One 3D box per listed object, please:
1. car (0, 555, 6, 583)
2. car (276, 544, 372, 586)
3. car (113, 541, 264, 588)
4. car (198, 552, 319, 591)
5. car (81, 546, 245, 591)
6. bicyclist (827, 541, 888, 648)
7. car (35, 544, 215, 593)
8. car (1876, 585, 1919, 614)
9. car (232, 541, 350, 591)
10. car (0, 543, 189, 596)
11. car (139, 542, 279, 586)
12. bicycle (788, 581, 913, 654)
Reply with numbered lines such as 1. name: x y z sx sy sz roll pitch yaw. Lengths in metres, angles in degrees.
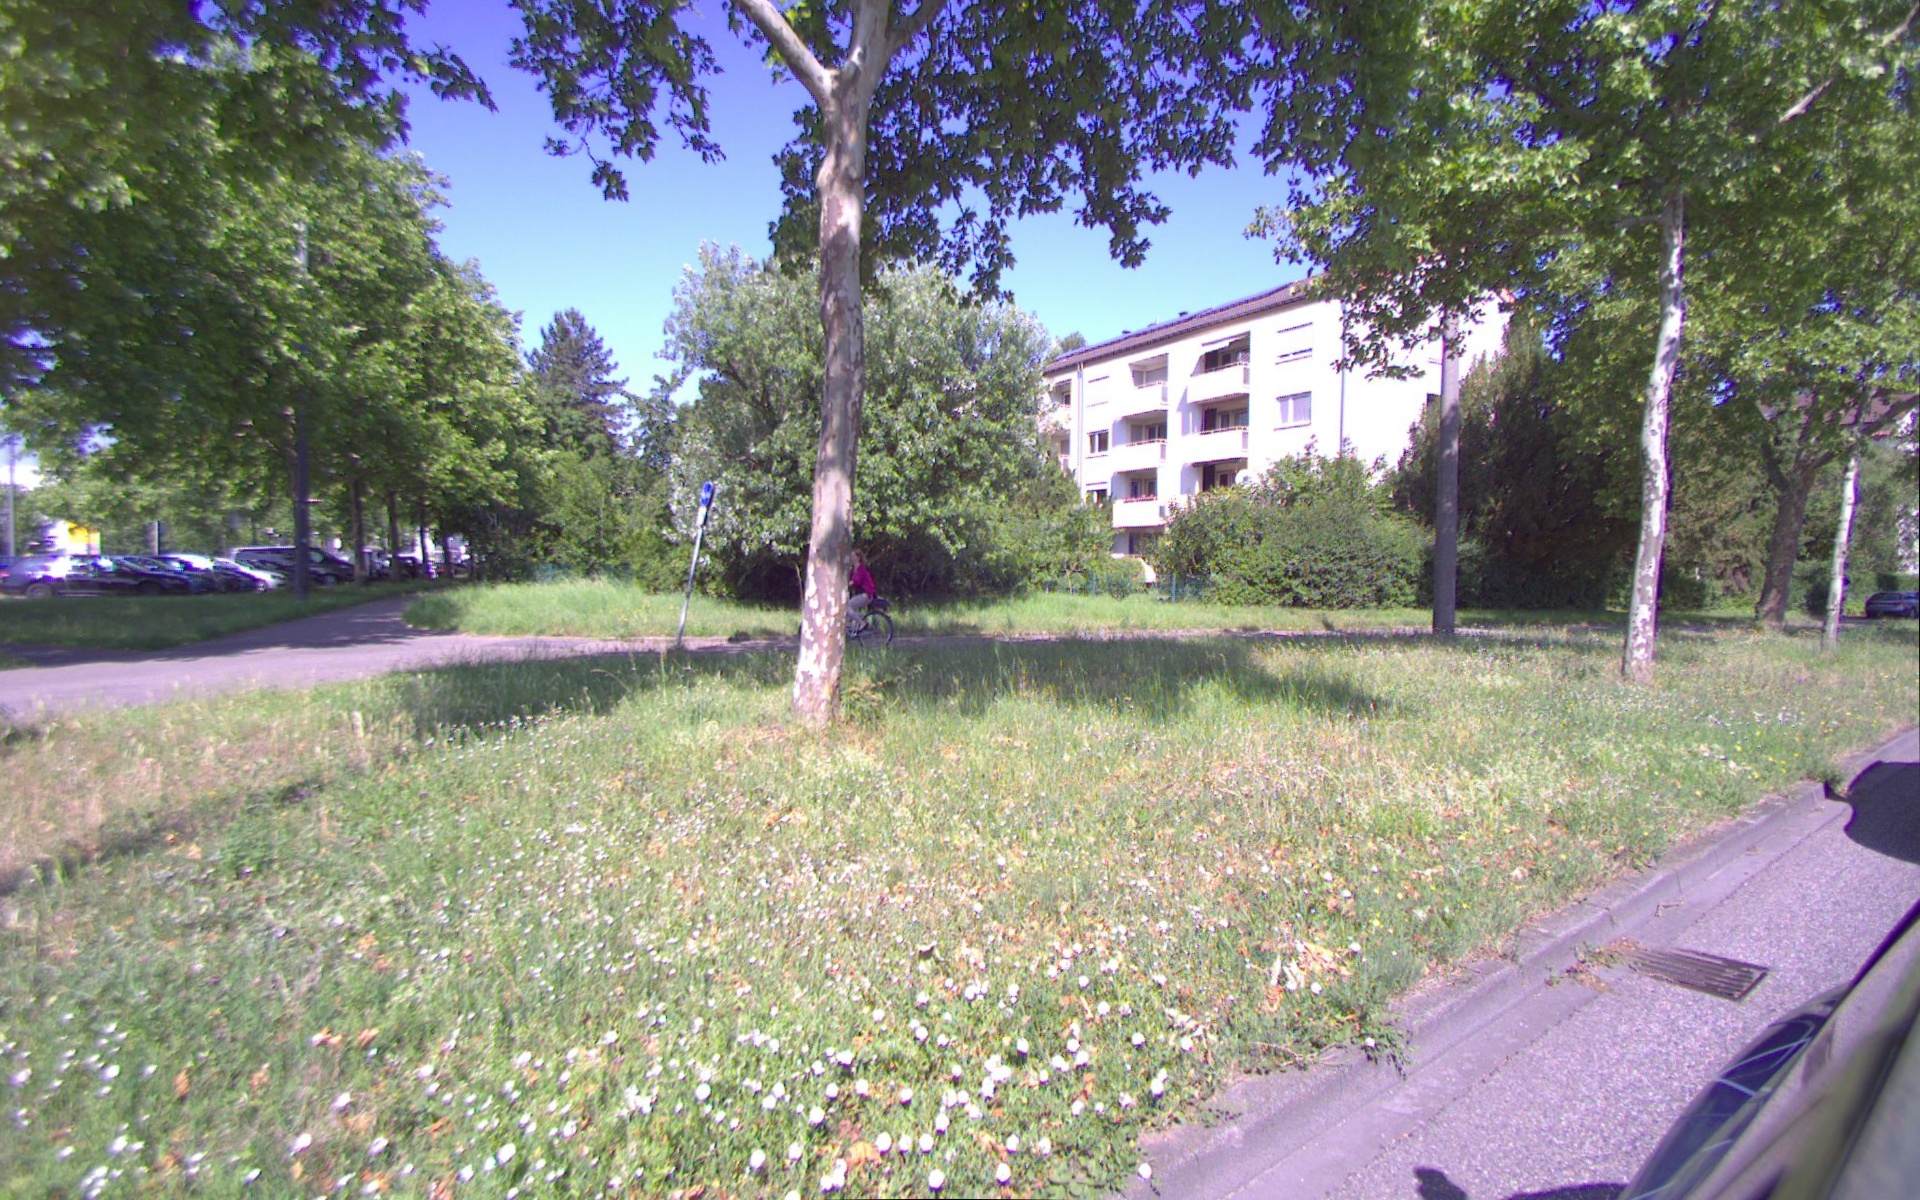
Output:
1. car: -64.836 -2.013 65.823 1.991 1.816 3.941 0 0 41
2. car: -35.807 -1.953 57.113 4.497 2.236 2.003 0 2 -29
3. car: -28.956 -1.287 38.166 4.267 1.653 2.002 0 0 -29
4. car: -31.265 -1.277 45.251 4.267 1.653 2.003 0 2 -29
5. car: -28.002 -1.089 35.767 4.267 1.509 2.003 0 2 -29
6. bicyclist: -1.789 -0.105 17.664 0.795 1.809 0.703 0 1 -34
7. car: -27.203 -1.000 33.176 4.267 1.509 2.003 0 2 -29
8. car: 47.698 -0.023 50.496 4.004 1.389 1.510 0 2 -25
9. car: -32.283 -1.630 48.983 4.494 2.318 2.004 0 2 -24
10. car: -26.176 -0.930 30.627 4.267 1.509 2.003 -1 2 -29
11. car: -29.901 -1.407 40.478 4.267 1.653 2.003 0 2 -29
12. bicycle: -1.889 0.275 17.605 2.084 1.200 0.694 0 2 -34
